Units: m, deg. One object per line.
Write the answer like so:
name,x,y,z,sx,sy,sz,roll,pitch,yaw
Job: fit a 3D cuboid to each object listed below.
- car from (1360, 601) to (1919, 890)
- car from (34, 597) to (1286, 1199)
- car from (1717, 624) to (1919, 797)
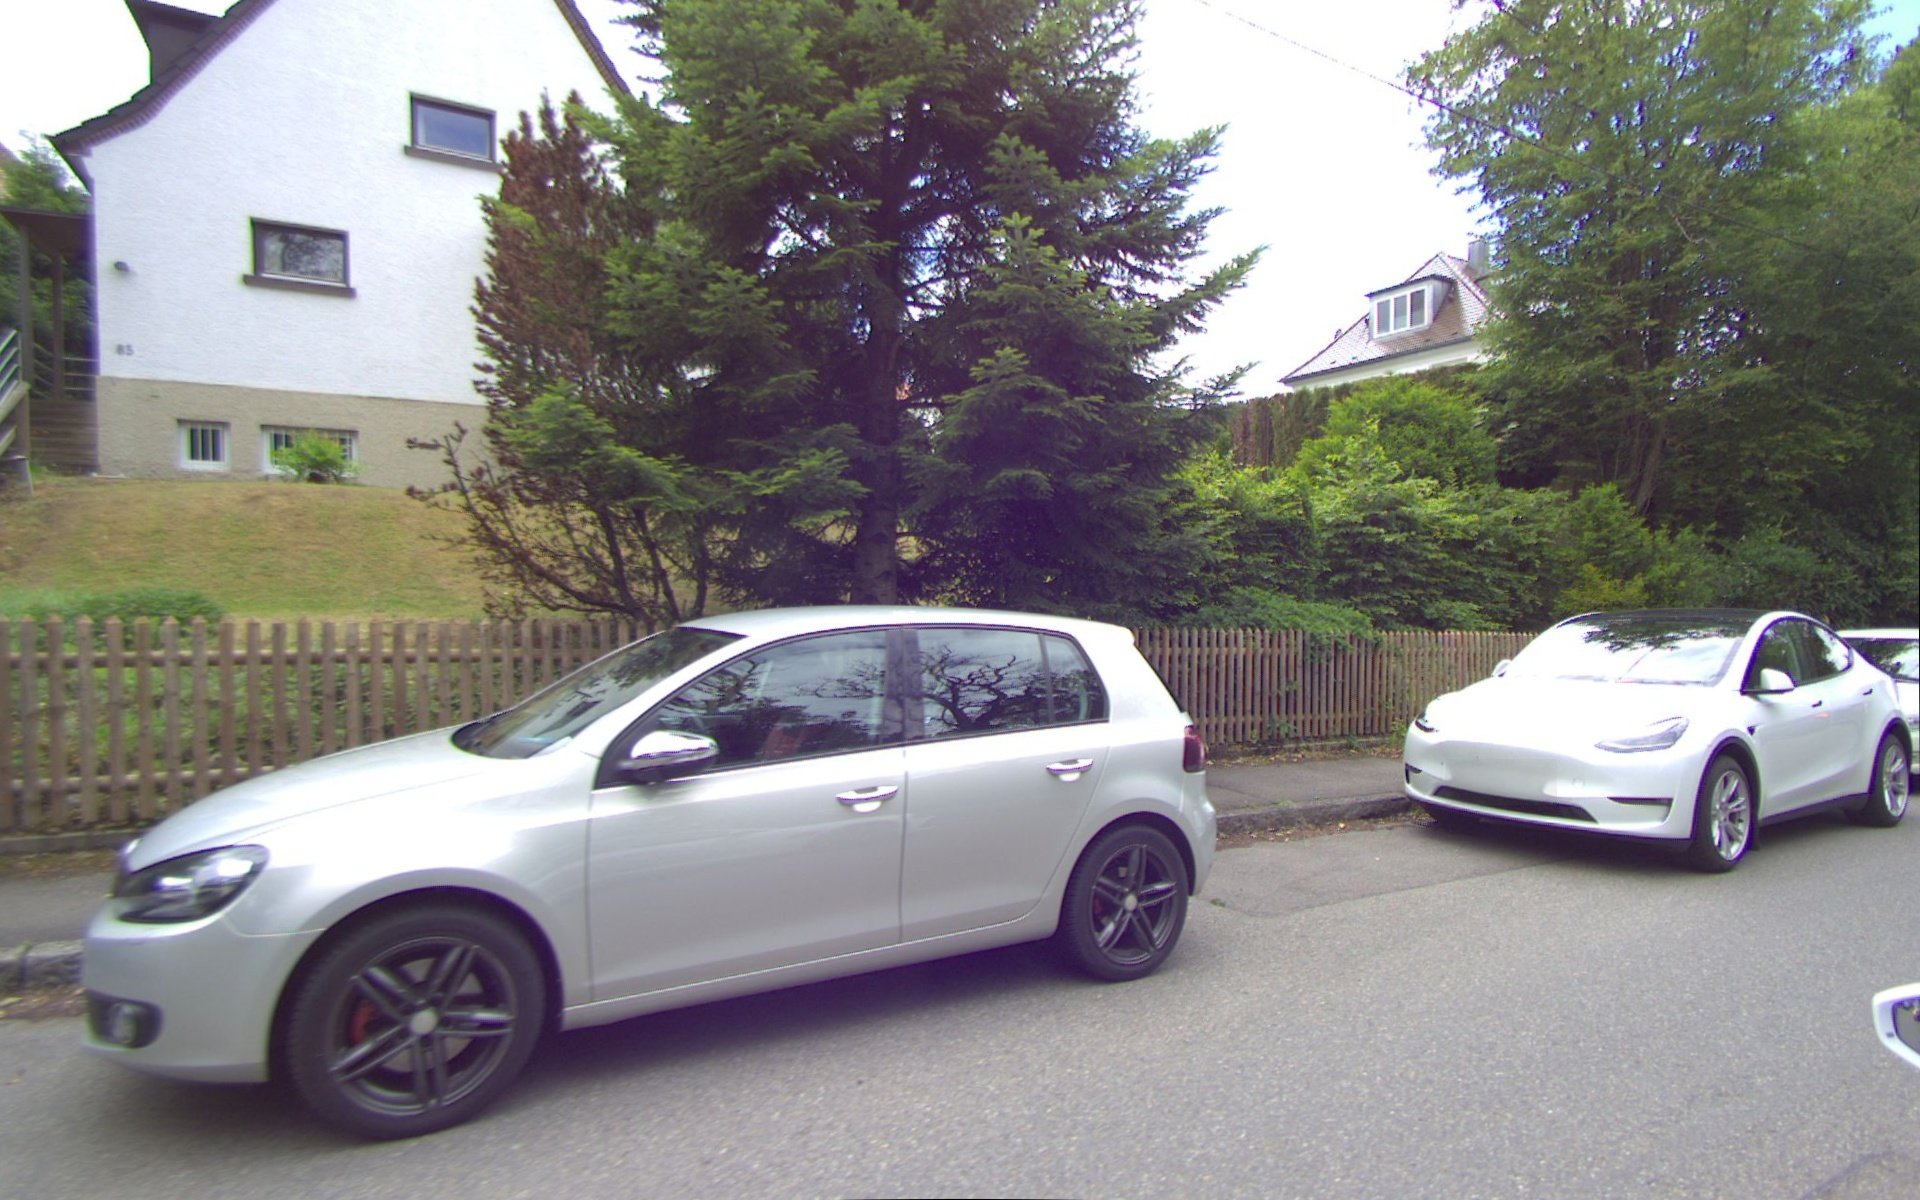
car,5.256,0.860,7.569,4.554,1.582,1.905,1,-2,-33
car,-0.790,0.776,4.114,4.069,1.458,1.826,1,-1,-31
car,9.683,1.019,10.423,3.775,1.524,1.711,1,-2,-33
